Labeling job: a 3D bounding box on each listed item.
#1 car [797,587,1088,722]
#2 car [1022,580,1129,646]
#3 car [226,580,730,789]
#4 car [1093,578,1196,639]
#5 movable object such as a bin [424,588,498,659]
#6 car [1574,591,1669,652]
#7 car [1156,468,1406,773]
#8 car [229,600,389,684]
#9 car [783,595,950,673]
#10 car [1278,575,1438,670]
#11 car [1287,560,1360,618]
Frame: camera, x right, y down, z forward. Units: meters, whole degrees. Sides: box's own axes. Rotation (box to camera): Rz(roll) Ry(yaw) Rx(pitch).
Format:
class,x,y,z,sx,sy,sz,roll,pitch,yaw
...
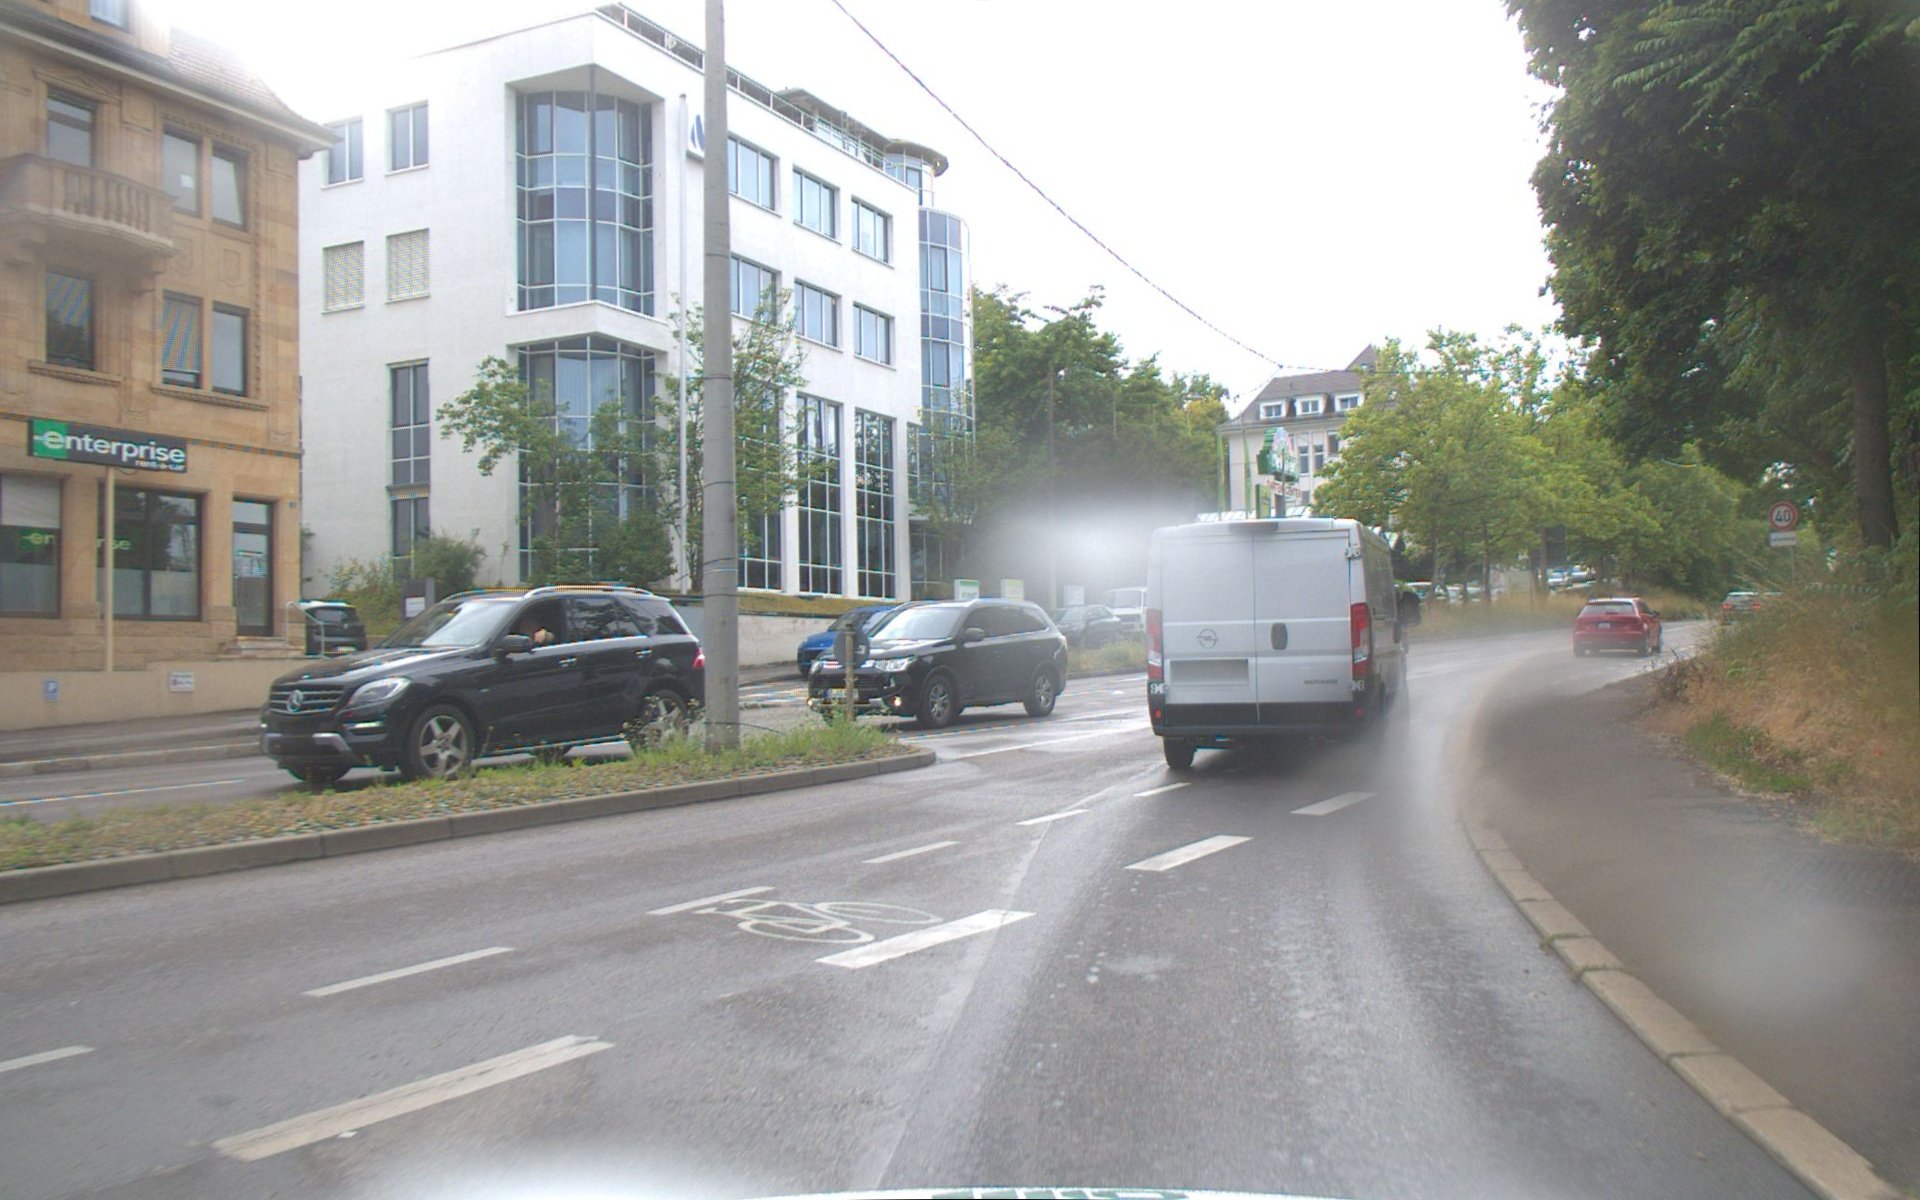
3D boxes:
class,x,y,z,sx,sy,sz,roll,pitch,yaw
car,-0.107,0.756,22.607,1.658,1.633,4.715,-3,-3,32
car,3.475,0.347,49.063,1.580,1.751,3.988,-3,0,28
car,-4.503,0.724,16.194,1.919,1.727,4.614,-3,-1,32
car,6.156,0.250,54.803,1.737,1.776,4.577,-3,0,28
movable object such as a bin,-11.277,0.535,37.388,1.219,1.568,1.040,-2,-2,25
car,16.538,0.565,41.279,1.662,1.451,3.360,-1,-2,31
car,3.371,0.177,16.542,2.007,2.560,4.946,0,0,16
car,-14.173,0.937,36.018,2.983,1.705,1.713,-3,-3,27
car,-2.118,0.763,38.834,1.656,1.561,4.665,-3,0,28
car,8.907,0.449,36.699,1.977,1.899,5.030,-3,-1,31
car,16.903,-0.533,76.643,1.924,2.486,5.651,-3,0,26
